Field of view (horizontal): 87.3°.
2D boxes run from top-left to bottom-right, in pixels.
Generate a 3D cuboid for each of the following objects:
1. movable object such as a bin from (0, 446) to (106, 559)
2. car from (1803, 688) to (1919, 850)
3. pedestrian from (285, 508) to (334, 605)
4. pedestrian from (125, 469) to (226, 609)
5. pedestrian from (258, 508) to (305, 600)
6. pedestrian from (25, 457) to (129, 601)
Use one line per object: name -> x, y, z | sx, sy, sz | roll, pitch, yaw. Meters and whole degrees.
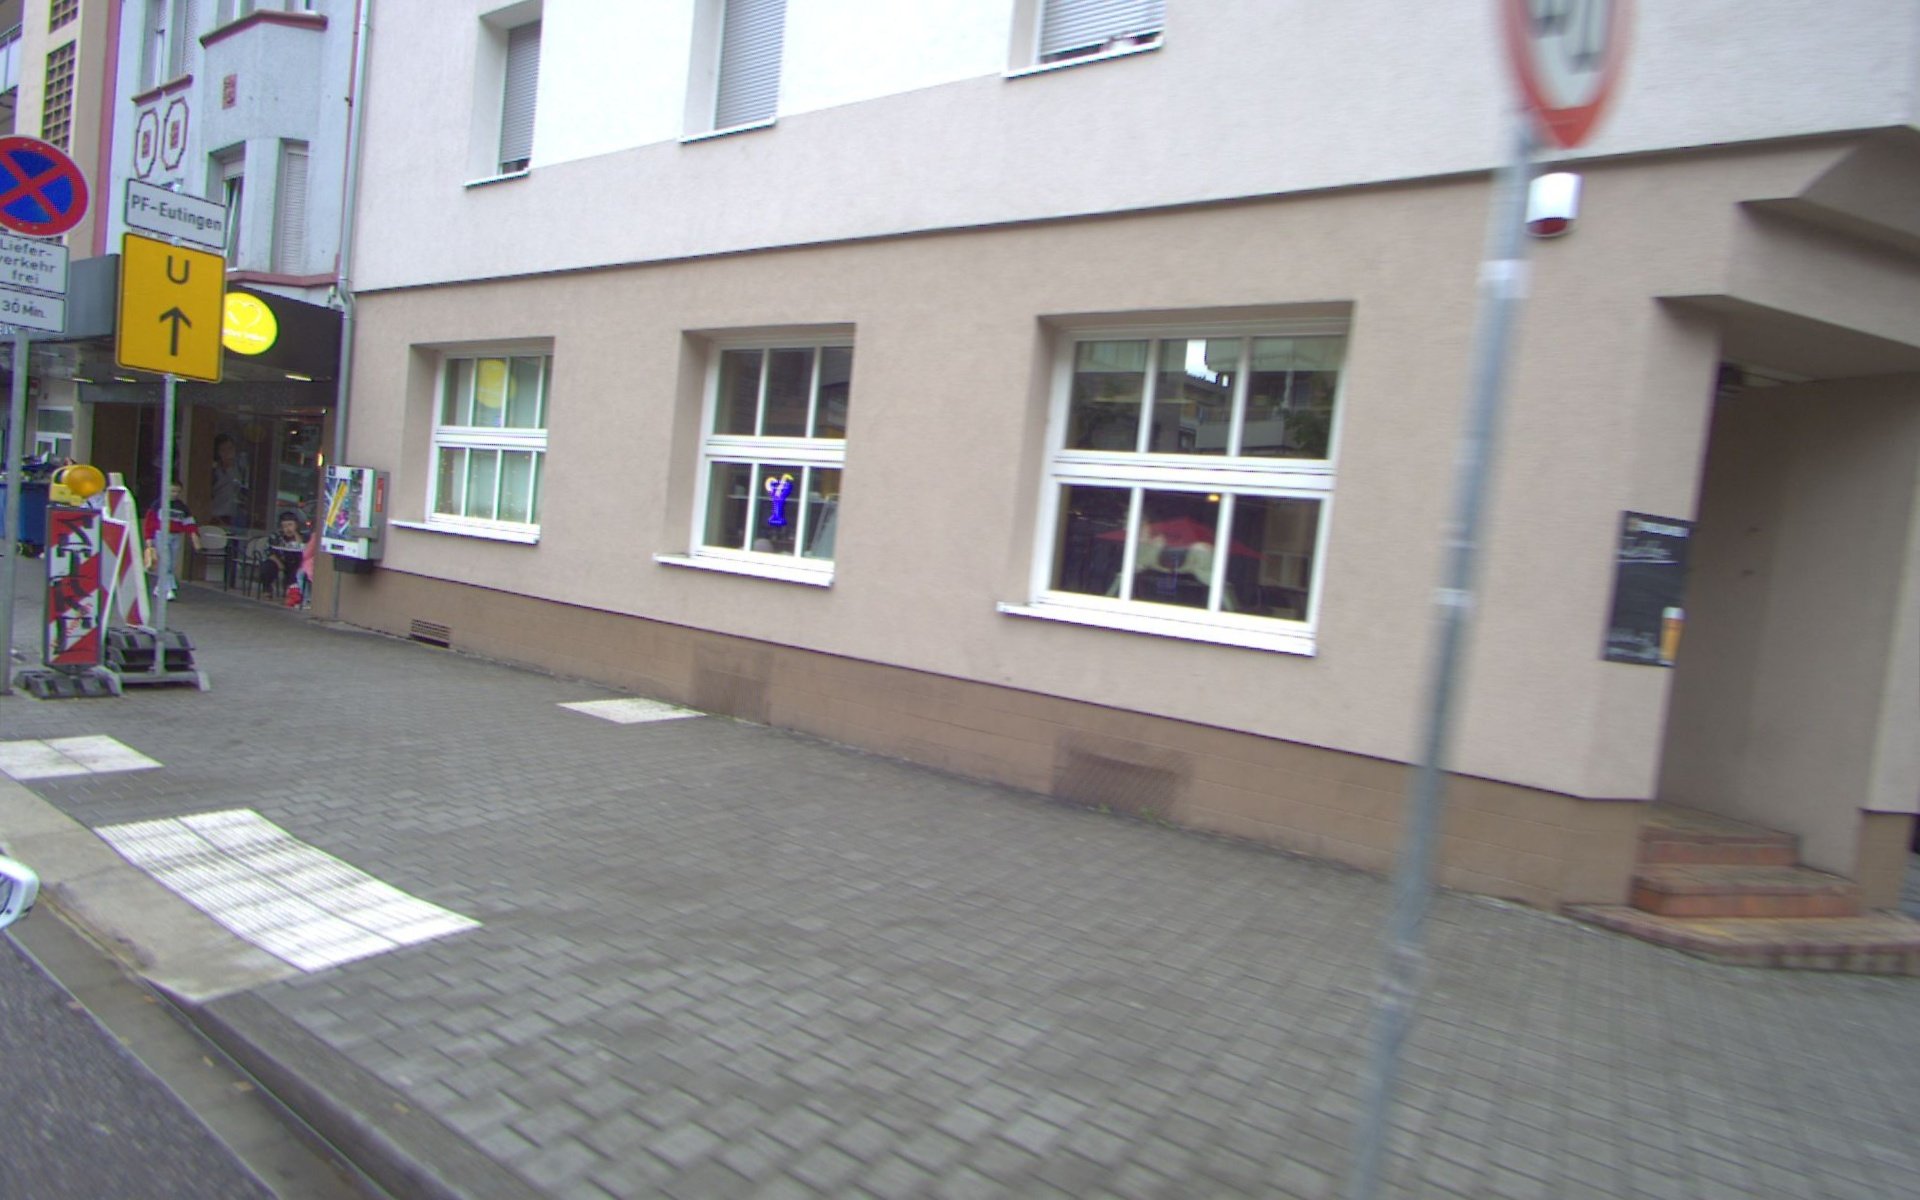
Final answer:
movable object such as a bin -> -15.243, -1.617, 16.771 | 1.410, 1.725, 1.122 | 5, 3, 31
car -> 11.453, 1.964, 11.119 | 2.010, 1.571, 3.997 | 5, 0, 22
pedestrian -> -8.514, -0.564, 13.174 | 0.351, 1.220, 0.412 | 8, 6, 35
pedestrian -> -10.130, -0.777, 12.990 | 0.744, 1.681, 0.749 | 5, -1, 39
pedestrian -> -9.326, -0.627, 13.830 | 0.351, 1.220, 0.412 | 8, 6, 35
pedestrian -> -11.207, -0.885, 12.766 | 0.825, 1.681, 0.748 | 5, -1, 39
